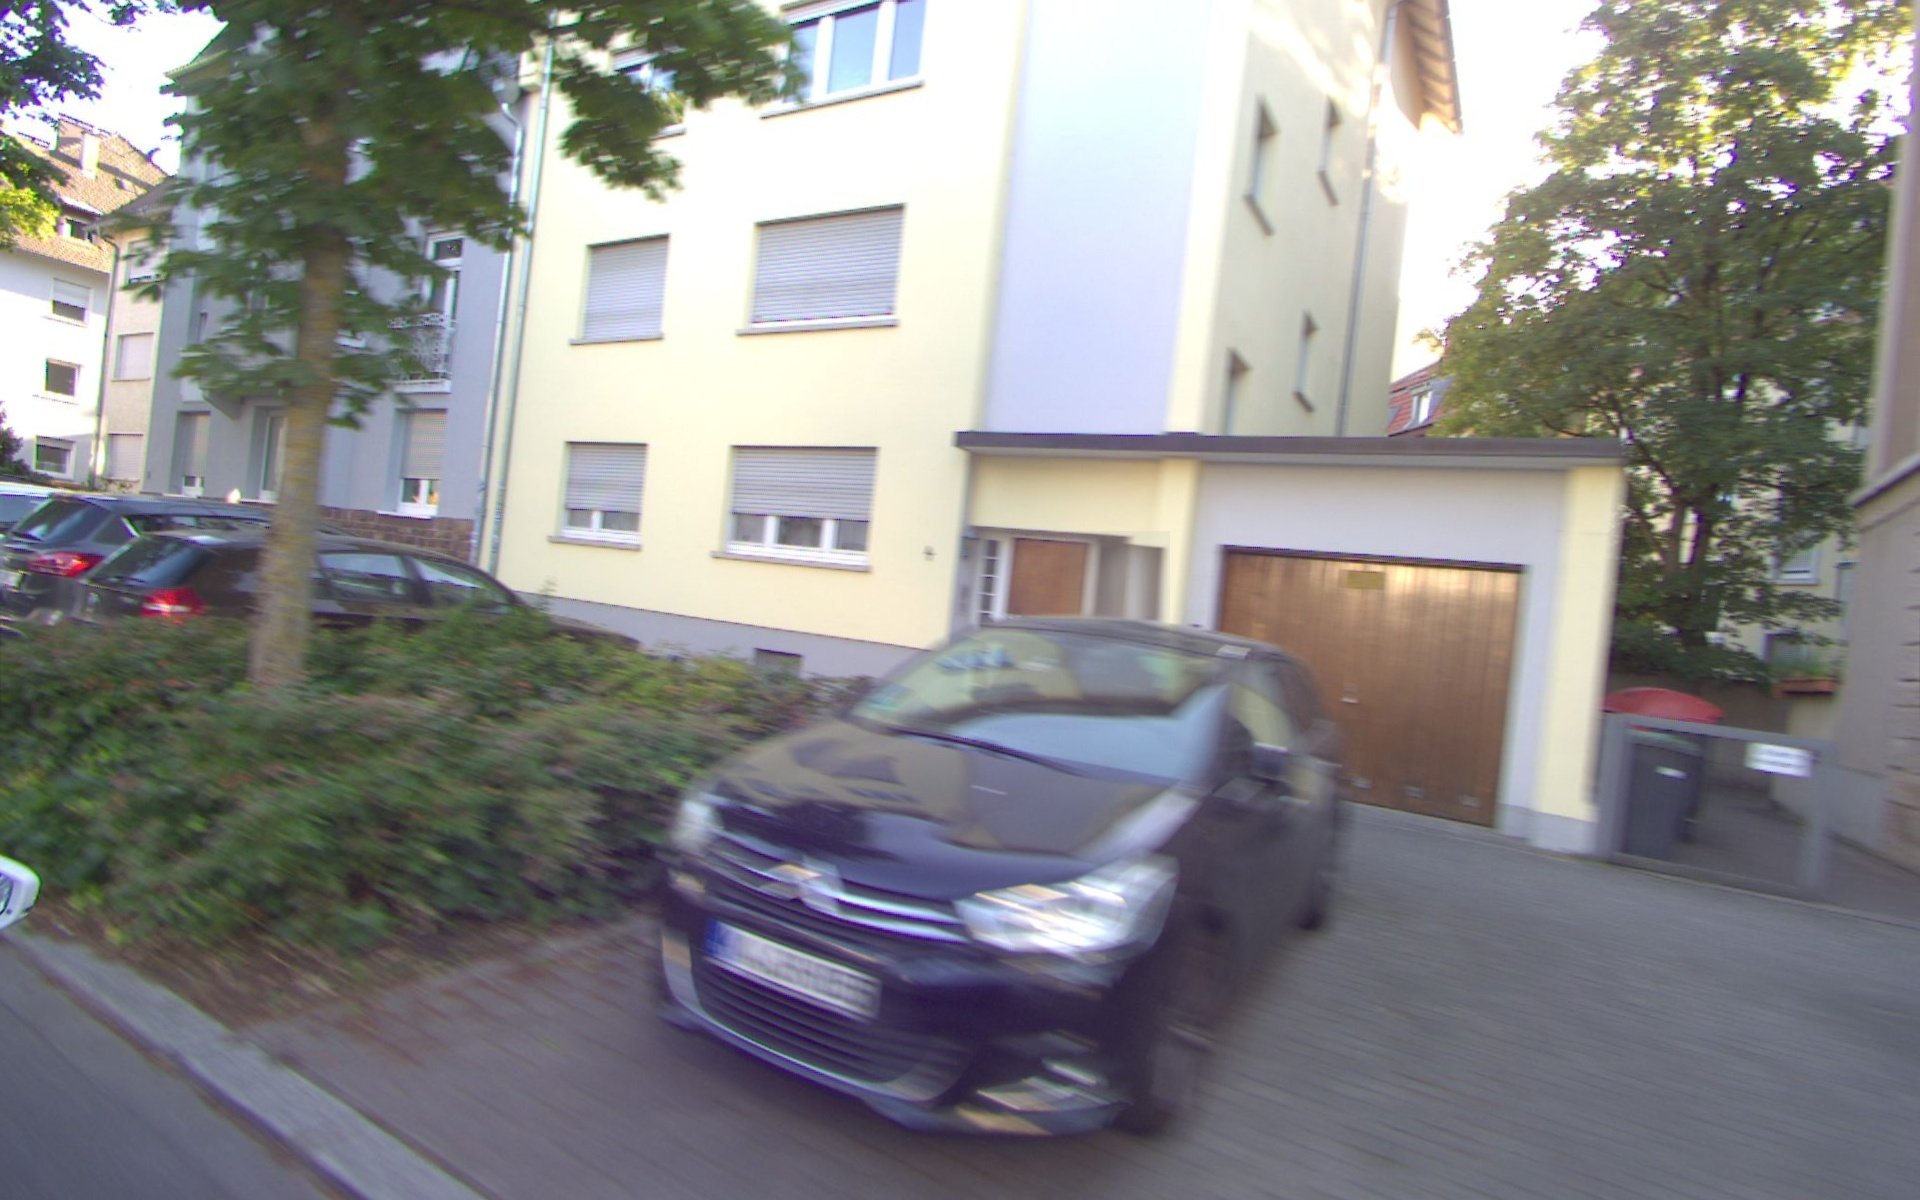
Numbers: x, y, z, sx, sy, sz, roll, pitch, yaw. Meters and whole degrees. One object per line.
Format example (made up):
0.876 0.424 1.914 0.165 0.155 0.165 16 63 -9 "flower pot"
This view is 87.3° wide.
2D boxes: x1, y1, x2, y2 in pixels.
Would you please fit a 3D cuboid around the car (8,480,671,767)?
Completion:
-4.435 0.226 7.796 1.698 1.577 3.928 7 0 34 "car"

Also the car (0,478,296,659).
-9.086 -0.339 9.961 1.696 1.577 3.736 6 -1 30 "car"

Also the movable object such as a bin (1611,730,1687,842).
6.907 1.845 10.101 0.523 1.010 0.456 5 -1 31 "movable object such as a bin"

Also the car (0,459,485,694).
-6.544 -0.114 9.186 1.696 1.674 3.553 6 -1 30 "car"

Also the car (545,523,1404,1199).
0.639 0.789 4.418 1.842 1.577 4.197 7 -1 30 "car"

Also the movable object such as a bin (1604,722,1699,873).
5.613 1.582 8.189 0.523 1.099 0.456 5 -1 31 "movable object such as a bin"

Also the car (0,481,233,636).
-11.190 -0.564 11.812 1.713 1.586 3.823 7 -2 27 "car"

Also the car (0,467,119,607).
-14.835 -1.122 13.743 1.921 1.858 4.635 7 -2 31 "car"

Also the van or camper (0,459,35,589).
-17.238 -1.496 15.209 1.968 2.037 4.318 7 -2 34 "van or camper"
